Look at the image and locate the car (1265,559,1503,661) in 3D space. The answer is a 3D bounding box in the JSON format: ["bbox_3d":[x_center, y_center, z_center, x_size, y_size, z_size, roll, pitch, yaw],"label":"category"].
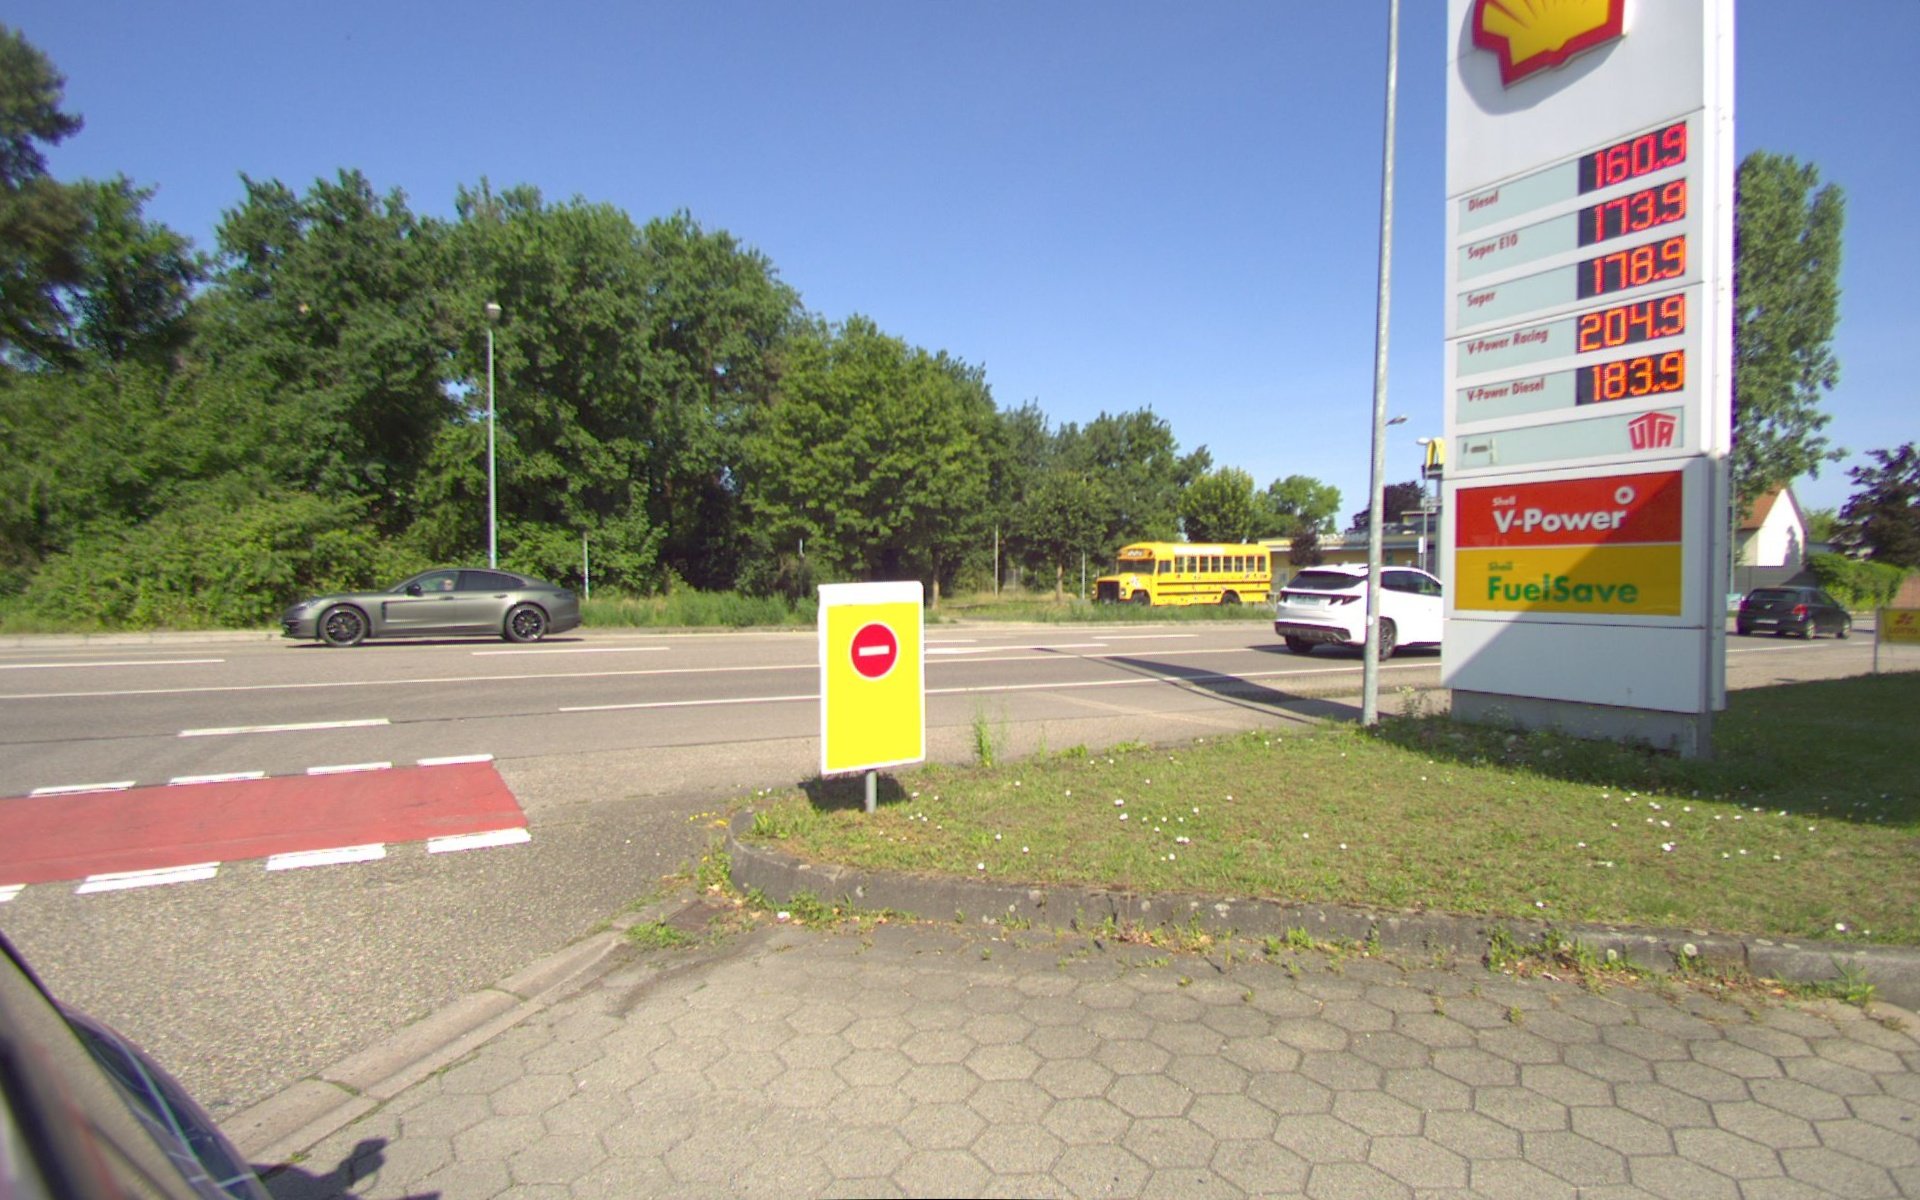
[{"bbox_3d":[7.730,0.129,18.369,4.234,1.660,1.820,0,2,-31],"label":"car"}]

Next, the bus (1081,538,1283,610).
[{"bbox_3d":[9.270,-1.008,41.652,8.845,2.699,2.595,0,2,-33],"label":"bus"}]

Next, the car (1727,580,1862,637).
[{"bbox_3d":[23.283,0.198,28.210,3.986,1.441,1.657,-1,3,-32],"label":"car"}]

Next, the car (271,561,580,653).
[{"bbox_3d":[-9.728,0.140,18.675,4.828,1.507,1.858,0,-1,-31],"label":"car"}]
